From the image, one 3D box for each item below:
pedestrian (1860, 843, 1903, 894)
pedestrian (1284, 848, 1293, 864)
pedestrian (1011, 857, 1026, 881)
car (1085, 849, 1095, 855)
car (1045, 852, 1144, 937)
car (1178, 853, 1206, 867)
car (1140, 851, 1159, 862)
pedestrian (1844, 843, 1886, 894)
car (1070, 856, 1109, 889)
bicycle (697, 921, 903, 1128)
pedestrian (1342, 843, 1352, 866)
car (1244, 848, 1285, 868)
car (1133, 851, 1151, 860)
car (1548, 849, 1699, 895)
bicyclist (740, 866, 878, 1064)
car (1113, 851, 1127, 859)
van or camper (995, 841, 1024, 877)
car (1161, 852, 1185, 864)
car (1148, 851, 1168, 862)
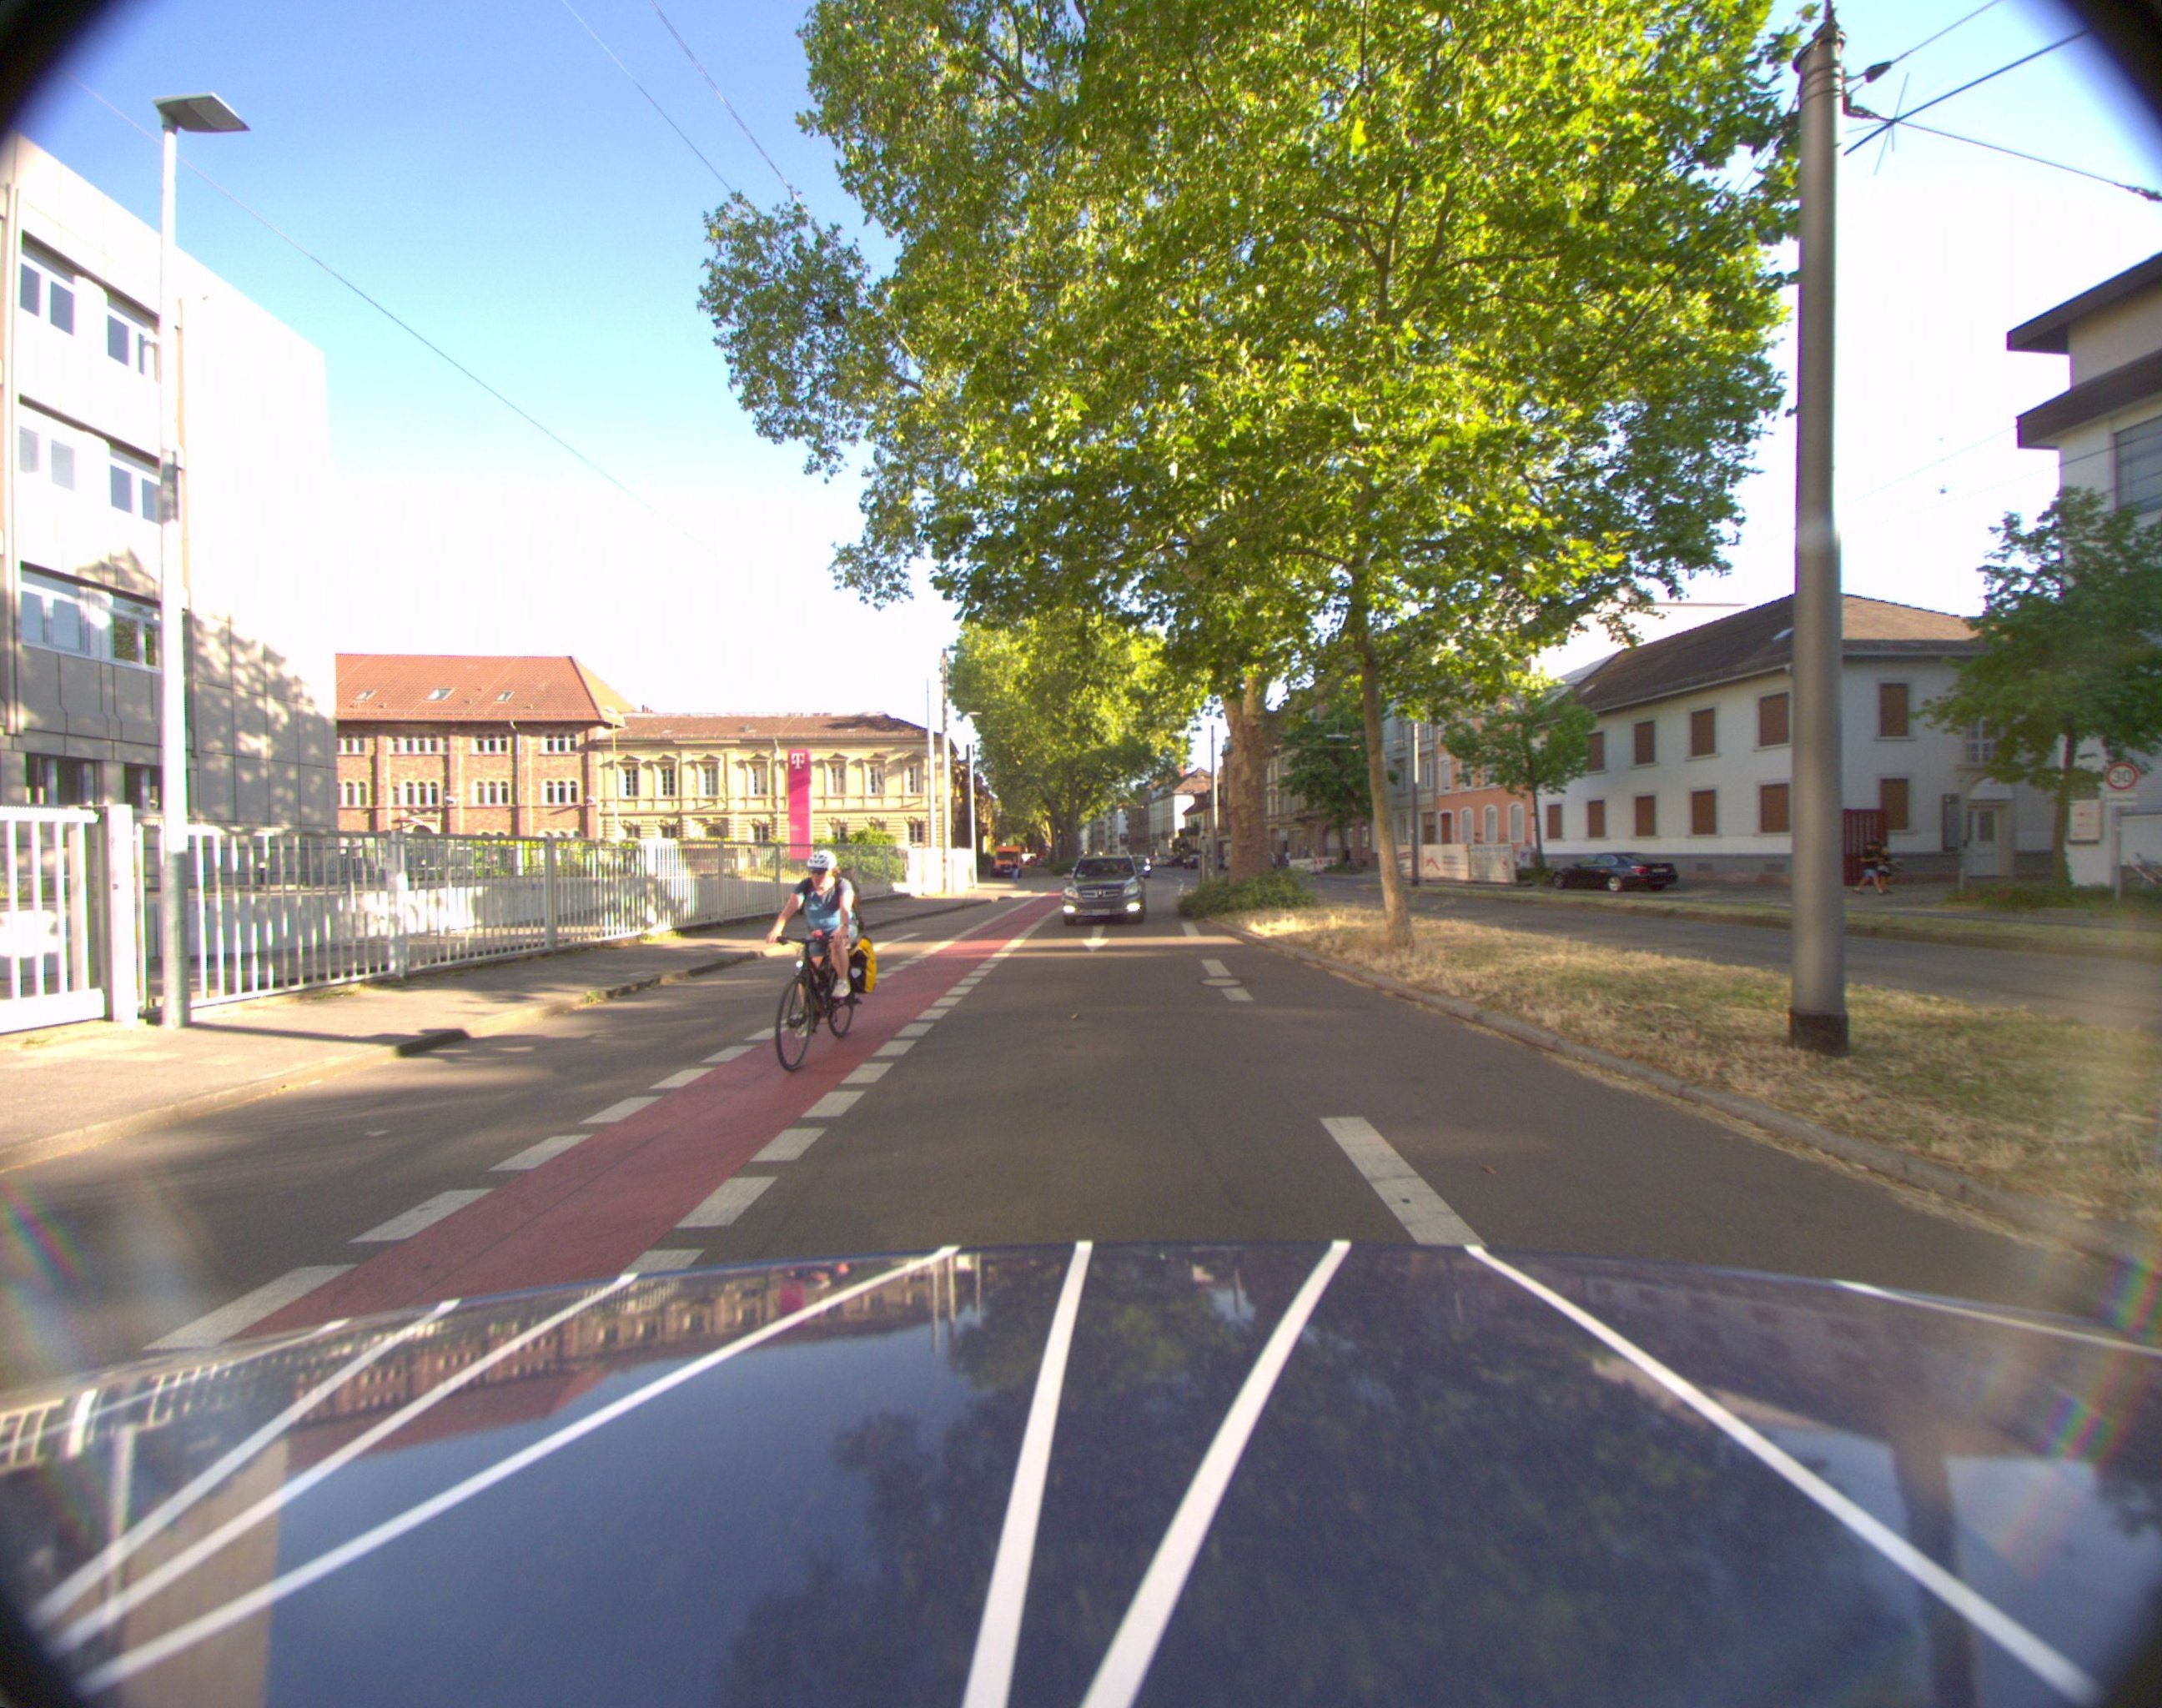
[{"bbox_3d":[24.504,0.431,23.266,0.537,1.519,0.711,-1,1,-5],"label":"pedestrian"},{"bbox_3d":[19.928,0.189,72.862,0.641,1.519,0.615,-1,1,-11],"label":"pedestrian"},{"bbox_3d":[-3.931,0.925,47.584,0.899,1.464,0.810,-1,1,-3],"label":"pedestrian"},{"bbox_3d":[2.548,-0.691,218.651,2.088,1.531,4.124,-4,1,-7],"label":"car"},{"bbox_3d":[0.470,0.859,18.252,1.907,1.634,4.518,-3,1,6],"label":"car"},{"bbox_3d":[13.538,0.700,92.919,2.088,1.531,4.513,-4,1,-7],"label":"car"},{"bbox_3d":[10.815,0.339,120.793,2.088,1.531,4.095,-4,1,-7],"label":"car"},{"bbox_3d":[23.613,0.435,22.888,0.537,1.519,0.711,-1,1,-11],"label":"pedestrian"},{"bbox_3d":[0.495,0.913,39.727,1.793,1.493,4.301,-3,1,3],"label":"car"},{"bbox_3d":[-2.113,1.223,6.128,0.764,1.137,2.306,-1,0,1],"label":"bicycle"},{"bbox_3d":[21.210,0.040,60.620,0.561,1.798,0.705,-1,1,-3],"label":"pedestrian"},{"bbox_3d":[16.887,0.371,70.221,2.088,1.664,4.530,-4,1,-7],"label":"car"},{"bbox_3d":[10.487,0.259,130.703,2.088,1.531,4.253,-4,1,-7],"label":"car"},{"bbox_3d":[20.529,0.625,29.049,2.088,1.462,4.576,-4,1,-7],"label":"car"},{"bbox_3d":[-2.129,0.831,6.056,0.728,1.414,0.859,-2,1,0],"label":"bicyclist"},{"bbox_3d":[7.949,0.158,156.227,2.088,1.531,4.117,-4,1,-7],"label":"car"},{"bbox_3d":[-5.445,0.354,58.702,1.999,2.578,5.623,-2,1,-4],"label":"van or camper"},{"bbox_3d":[12.762,0.482,105.994,2.088,1.531,5.101,-4,1,-7],"label":"car"},{"bbox_3d":[11.611,0.376,114.873,2.088,1.531,4.036,-4,1,-7],"label":"car"}]
